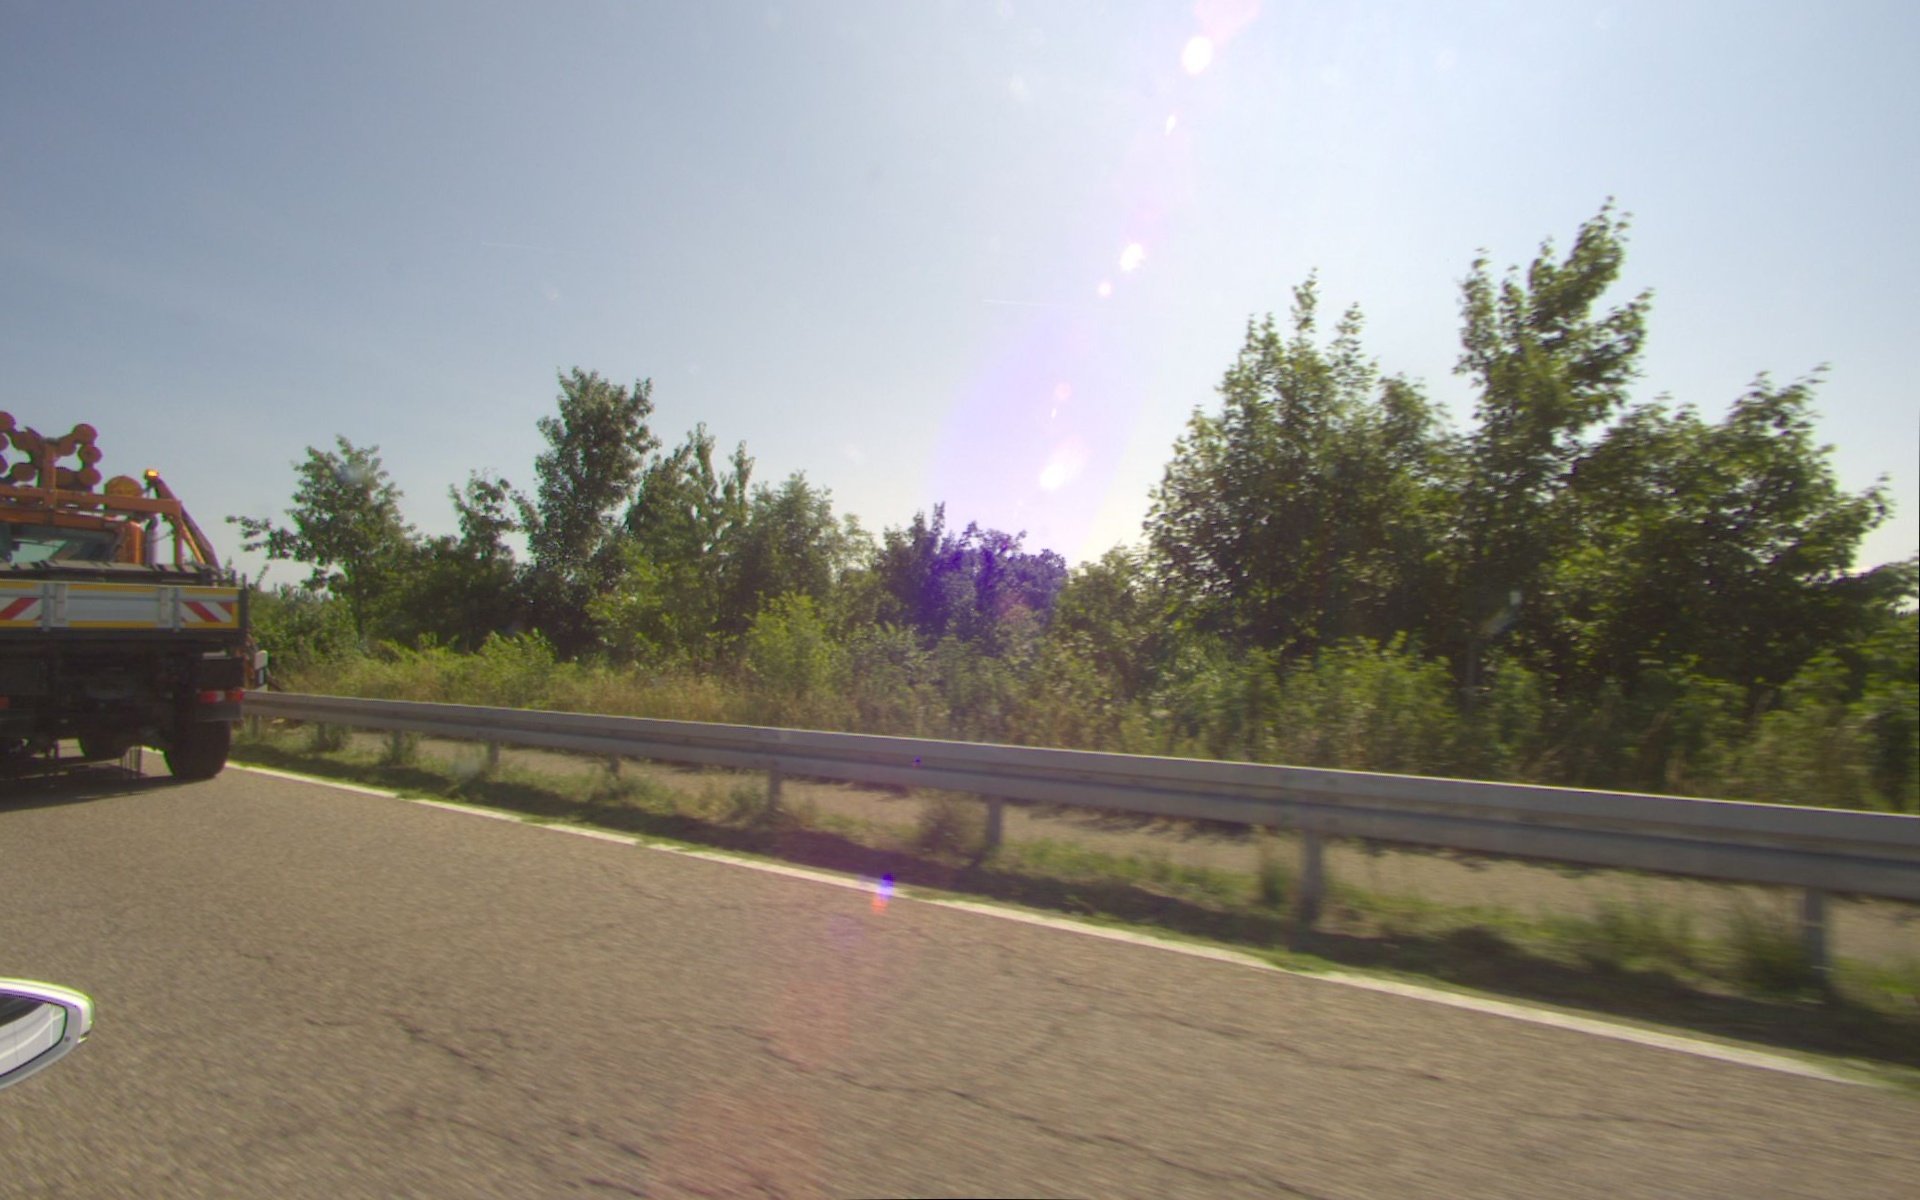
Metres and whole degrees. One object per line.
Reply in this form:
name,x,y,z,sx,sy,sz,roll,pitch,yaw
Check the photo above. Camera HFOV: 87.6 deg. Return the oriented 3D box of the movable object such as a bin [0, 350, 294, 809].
movable object such as a bin,-11.354,-0.062,11.997,9.326,3.888,2.744,-1,-2,37
